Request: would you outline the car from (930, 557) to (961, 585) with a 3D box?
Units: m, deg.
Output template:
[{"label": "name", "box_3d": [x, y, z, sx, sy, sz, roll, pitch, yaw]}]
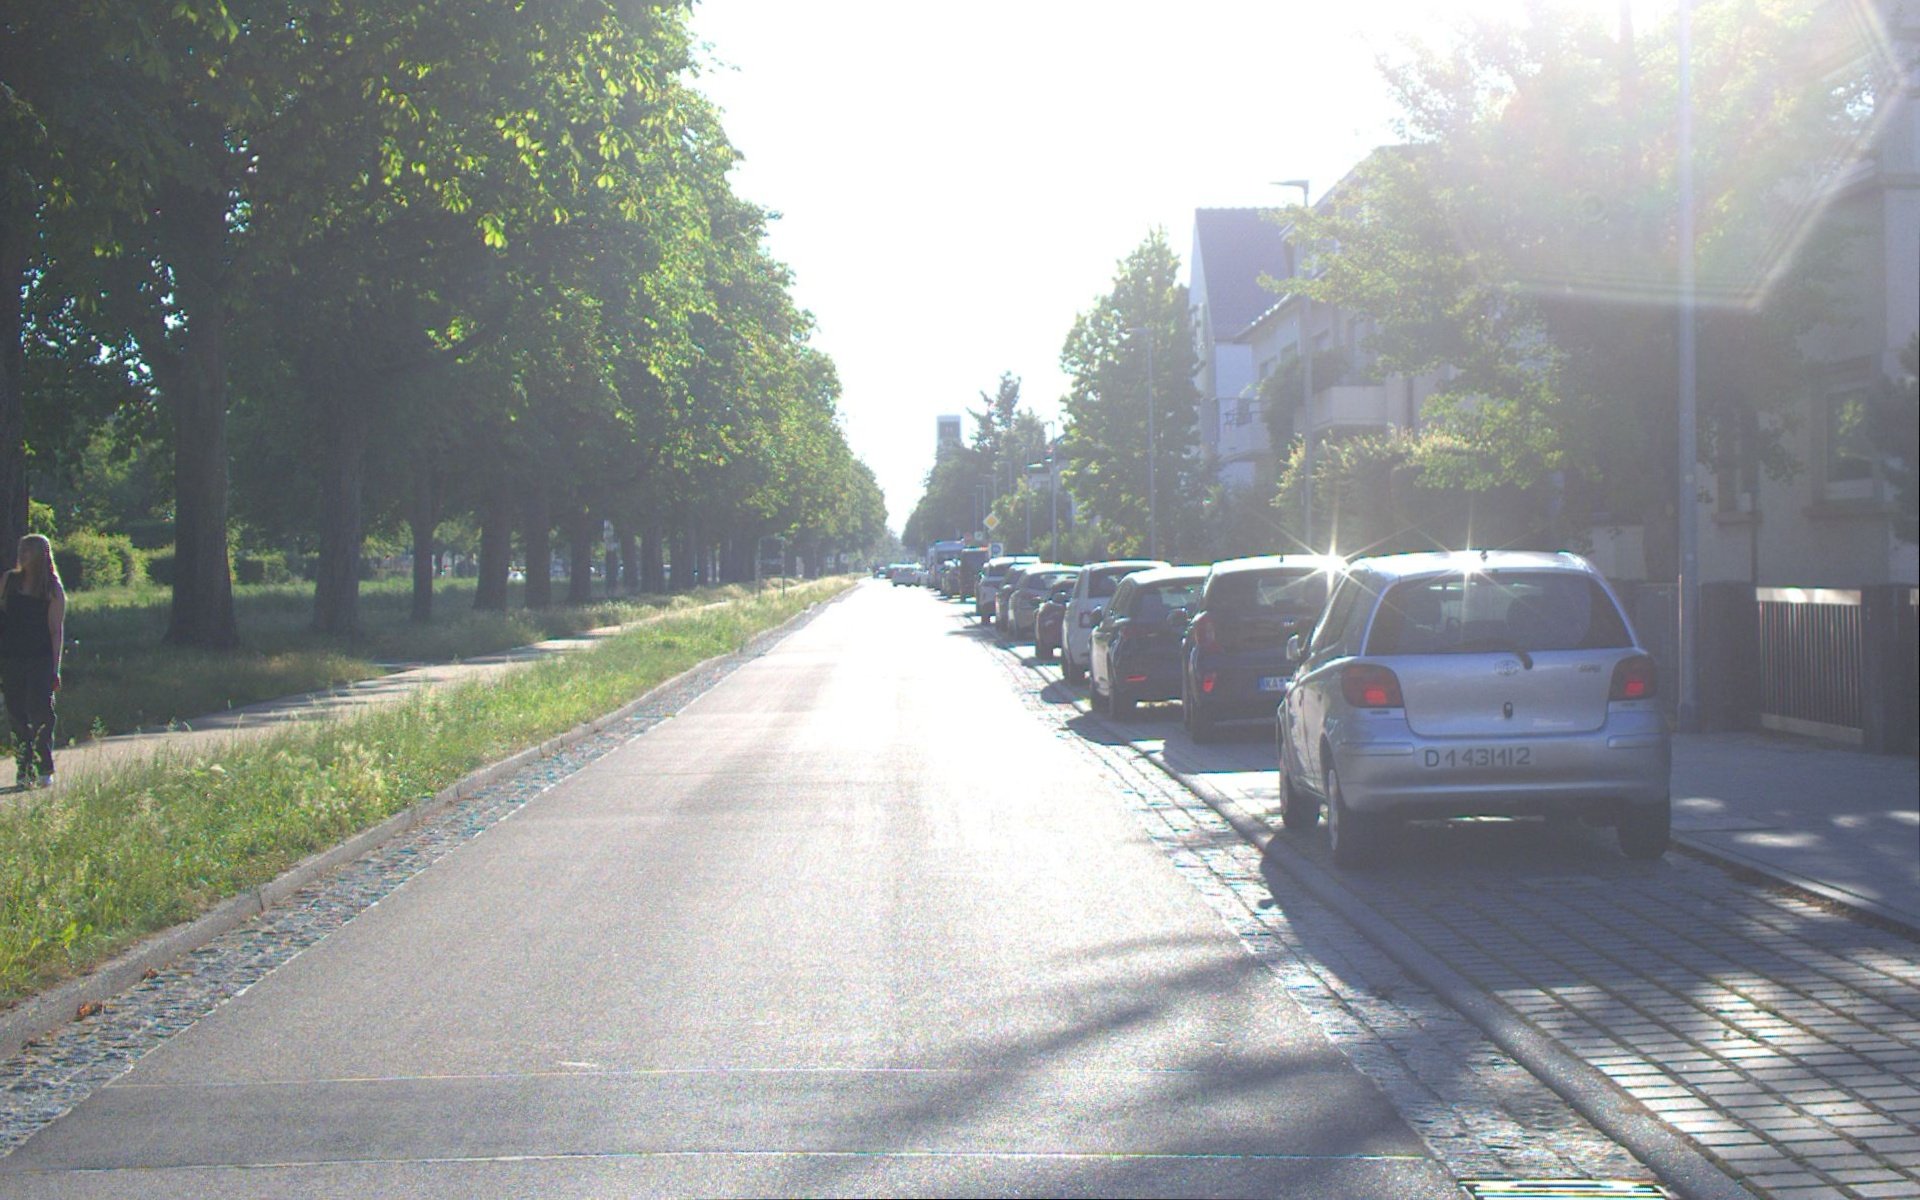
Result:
[{"label": "car", "box_3d": [-0.807, -1.635, 191.956, 1.652, 1.536, 3.266, 0, 1, 0]}]

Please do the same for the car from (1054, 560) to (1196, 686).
[{"label": "car", "box_3d": [2.055, 0.260, 43.634, 1.592, 1.505, 3.592, -1, 1, 0]}]

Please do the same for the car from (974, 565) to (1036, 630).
[{"label": "car", "box_3d": [1.103, -0.082, 85.811, 1.498, 1.561, 3.266, -1, 1, 0]}]

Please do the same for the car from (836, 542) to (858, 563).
[{"label": "car", "box_3d": [-8.461, -3.531, 257.612, 1.652, 1.536, 3.267, 0, 1, -1]}]

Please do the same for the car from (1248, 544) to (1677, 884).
[{"label": "car", "box_3d": [2.502, 0.504, 17.893, 1.627, 1.499, 3.633, -3, 1, 0]}]

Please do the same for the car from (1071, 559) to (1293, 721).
[{"label": "car", "box_3d": [2.152, 0.369, 34.309, 1.736, 1.444, 4.197, -2, 0, -2]}]

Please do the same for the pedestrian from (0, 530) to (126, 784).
[{"label": "pedestrian", "box_3d": [-5.943, 0.357, 22.303, 0.783, 1.609, 0.952, 0, 1, 3]}]

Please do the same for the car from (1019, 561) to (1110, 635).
[{"label": "car", "box_3d": [2.016, -0.055, 67.181, 1.652, 1.391, 3.266, -1, 1, 0]}]

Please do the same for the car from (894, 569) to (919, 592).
[{"label": "car", "box_3d": [-3.537, -1.311, 227.704, 1.652, 1.536, 3.267, 0, 1, -1]}]

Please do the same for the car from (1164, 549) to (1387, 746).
[{"label": "car", "box_3d": [2.590, 0.361, 28.917, 1.658, 1.489, 3.715, -2, 0, 3]}]

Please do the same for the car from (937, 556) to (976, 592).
[{"label": "car", "box_3d": [-0.131, -1.126, 147.715, 1.652, 1.536, 3.266, 0, 1, 0]}]

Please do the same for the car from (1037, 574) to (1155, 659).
[{"label": "car", "box_3d": [2.085, 0.239, 53.563, 1.692, 1.244, 3.497, -1, 1, 0]}]

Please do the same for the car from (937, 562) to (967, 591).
[{"label": "car", "box_3d": [-0.427, -1.269, 186.575, 1.652, 1.536, 3.266, 0, 1, 0]}]
